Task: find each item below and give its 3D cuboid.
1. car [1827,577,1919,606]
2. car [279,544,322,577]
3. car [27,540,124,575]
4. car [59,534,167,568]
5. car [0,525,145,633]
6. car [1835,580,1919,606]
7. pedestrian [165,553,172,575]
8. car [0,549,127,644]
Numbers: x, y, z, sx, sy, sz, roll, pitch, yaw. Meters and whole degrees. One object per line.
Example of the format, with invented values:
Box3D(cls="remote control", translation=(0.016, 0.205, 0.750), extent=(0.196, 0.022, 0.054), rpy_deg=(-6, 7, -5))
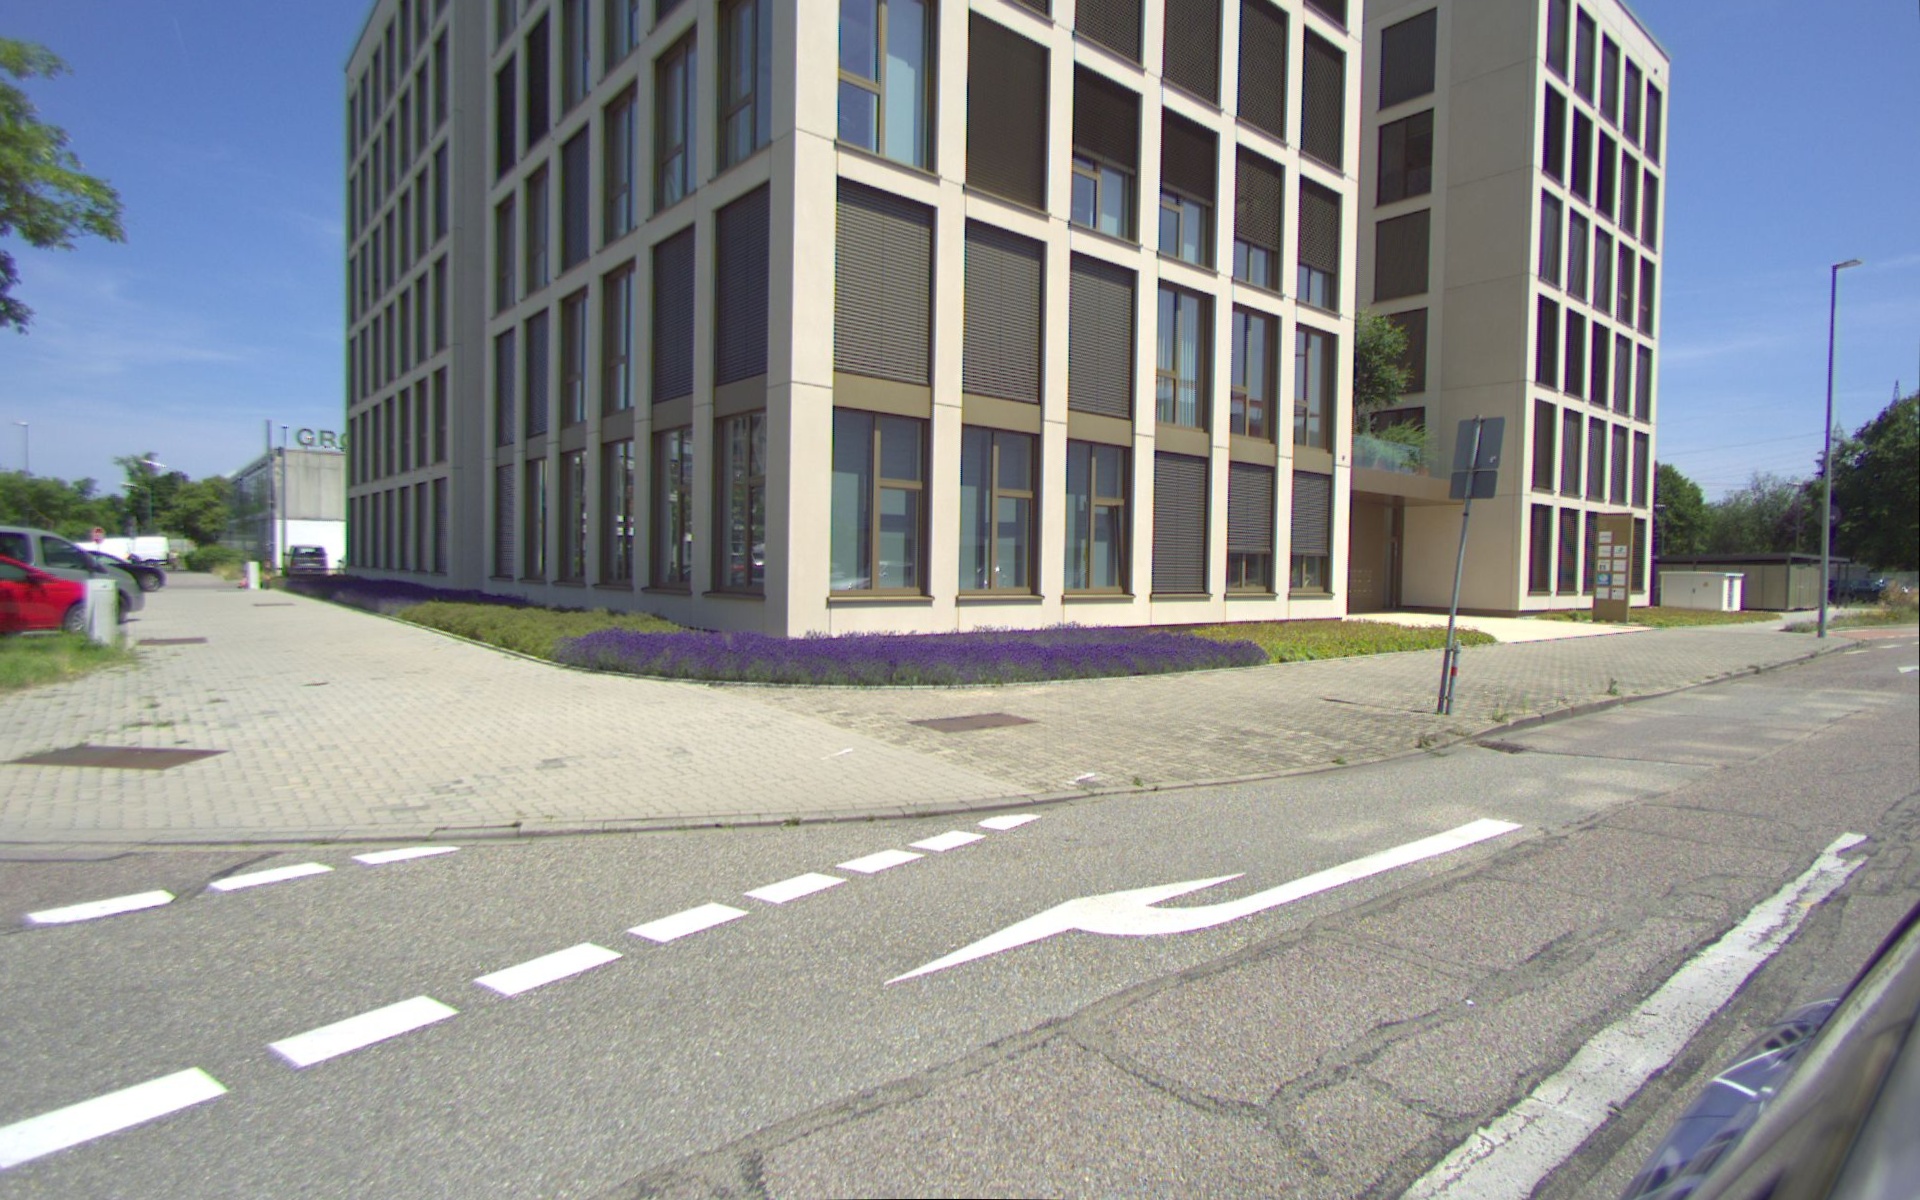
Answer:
Box3D(cls="car", translation=(53.575, -0.506, 59.471), extent=(3.810, 1.571, 1.716), rpy_deg=(2, 2, 36))
Box3D(cls="car", translation=(-38.096, -2.235, 58.420), extent=(1.763, 1.749, 3.997), rpy_deg=(0, 0, -38))
Box3D(cls="car", translation=(-55.163, -2.604, 63.222), extent=(4.495, 2.039, 1.997), rpy_deg=(-1, 0, -40))
Box3D(cls="car", translation=(-67.902, -3.906, 81.327), extent=(6.573, 2.552, 2.217), rpy_deg=(-1, 0, -38))
Box3D(cls="car", translation=(-17.873, -0.399, 18.412), extent=(1.886, 1.910, 4.927), rpy_deg=(1, 1, 5))
Box3D(cls="car", translation=(55.198, -0.422, 60.806), extent=(3.810, 1.411, 1.716), rpy_deg=(2, 2, 36))
Box3D(cls="pedestrian", translation=(-55.865, -2.553, 71.415), extent=(0.397, 1.579, 0.549), rpy_deg=(0, 2, -39))
Box3D(cls="car", translation=(-15.476, -0.059, 15.564), extent=(1.672, 1.449, 3.990), rpy_deg=(1, 3, 10))
